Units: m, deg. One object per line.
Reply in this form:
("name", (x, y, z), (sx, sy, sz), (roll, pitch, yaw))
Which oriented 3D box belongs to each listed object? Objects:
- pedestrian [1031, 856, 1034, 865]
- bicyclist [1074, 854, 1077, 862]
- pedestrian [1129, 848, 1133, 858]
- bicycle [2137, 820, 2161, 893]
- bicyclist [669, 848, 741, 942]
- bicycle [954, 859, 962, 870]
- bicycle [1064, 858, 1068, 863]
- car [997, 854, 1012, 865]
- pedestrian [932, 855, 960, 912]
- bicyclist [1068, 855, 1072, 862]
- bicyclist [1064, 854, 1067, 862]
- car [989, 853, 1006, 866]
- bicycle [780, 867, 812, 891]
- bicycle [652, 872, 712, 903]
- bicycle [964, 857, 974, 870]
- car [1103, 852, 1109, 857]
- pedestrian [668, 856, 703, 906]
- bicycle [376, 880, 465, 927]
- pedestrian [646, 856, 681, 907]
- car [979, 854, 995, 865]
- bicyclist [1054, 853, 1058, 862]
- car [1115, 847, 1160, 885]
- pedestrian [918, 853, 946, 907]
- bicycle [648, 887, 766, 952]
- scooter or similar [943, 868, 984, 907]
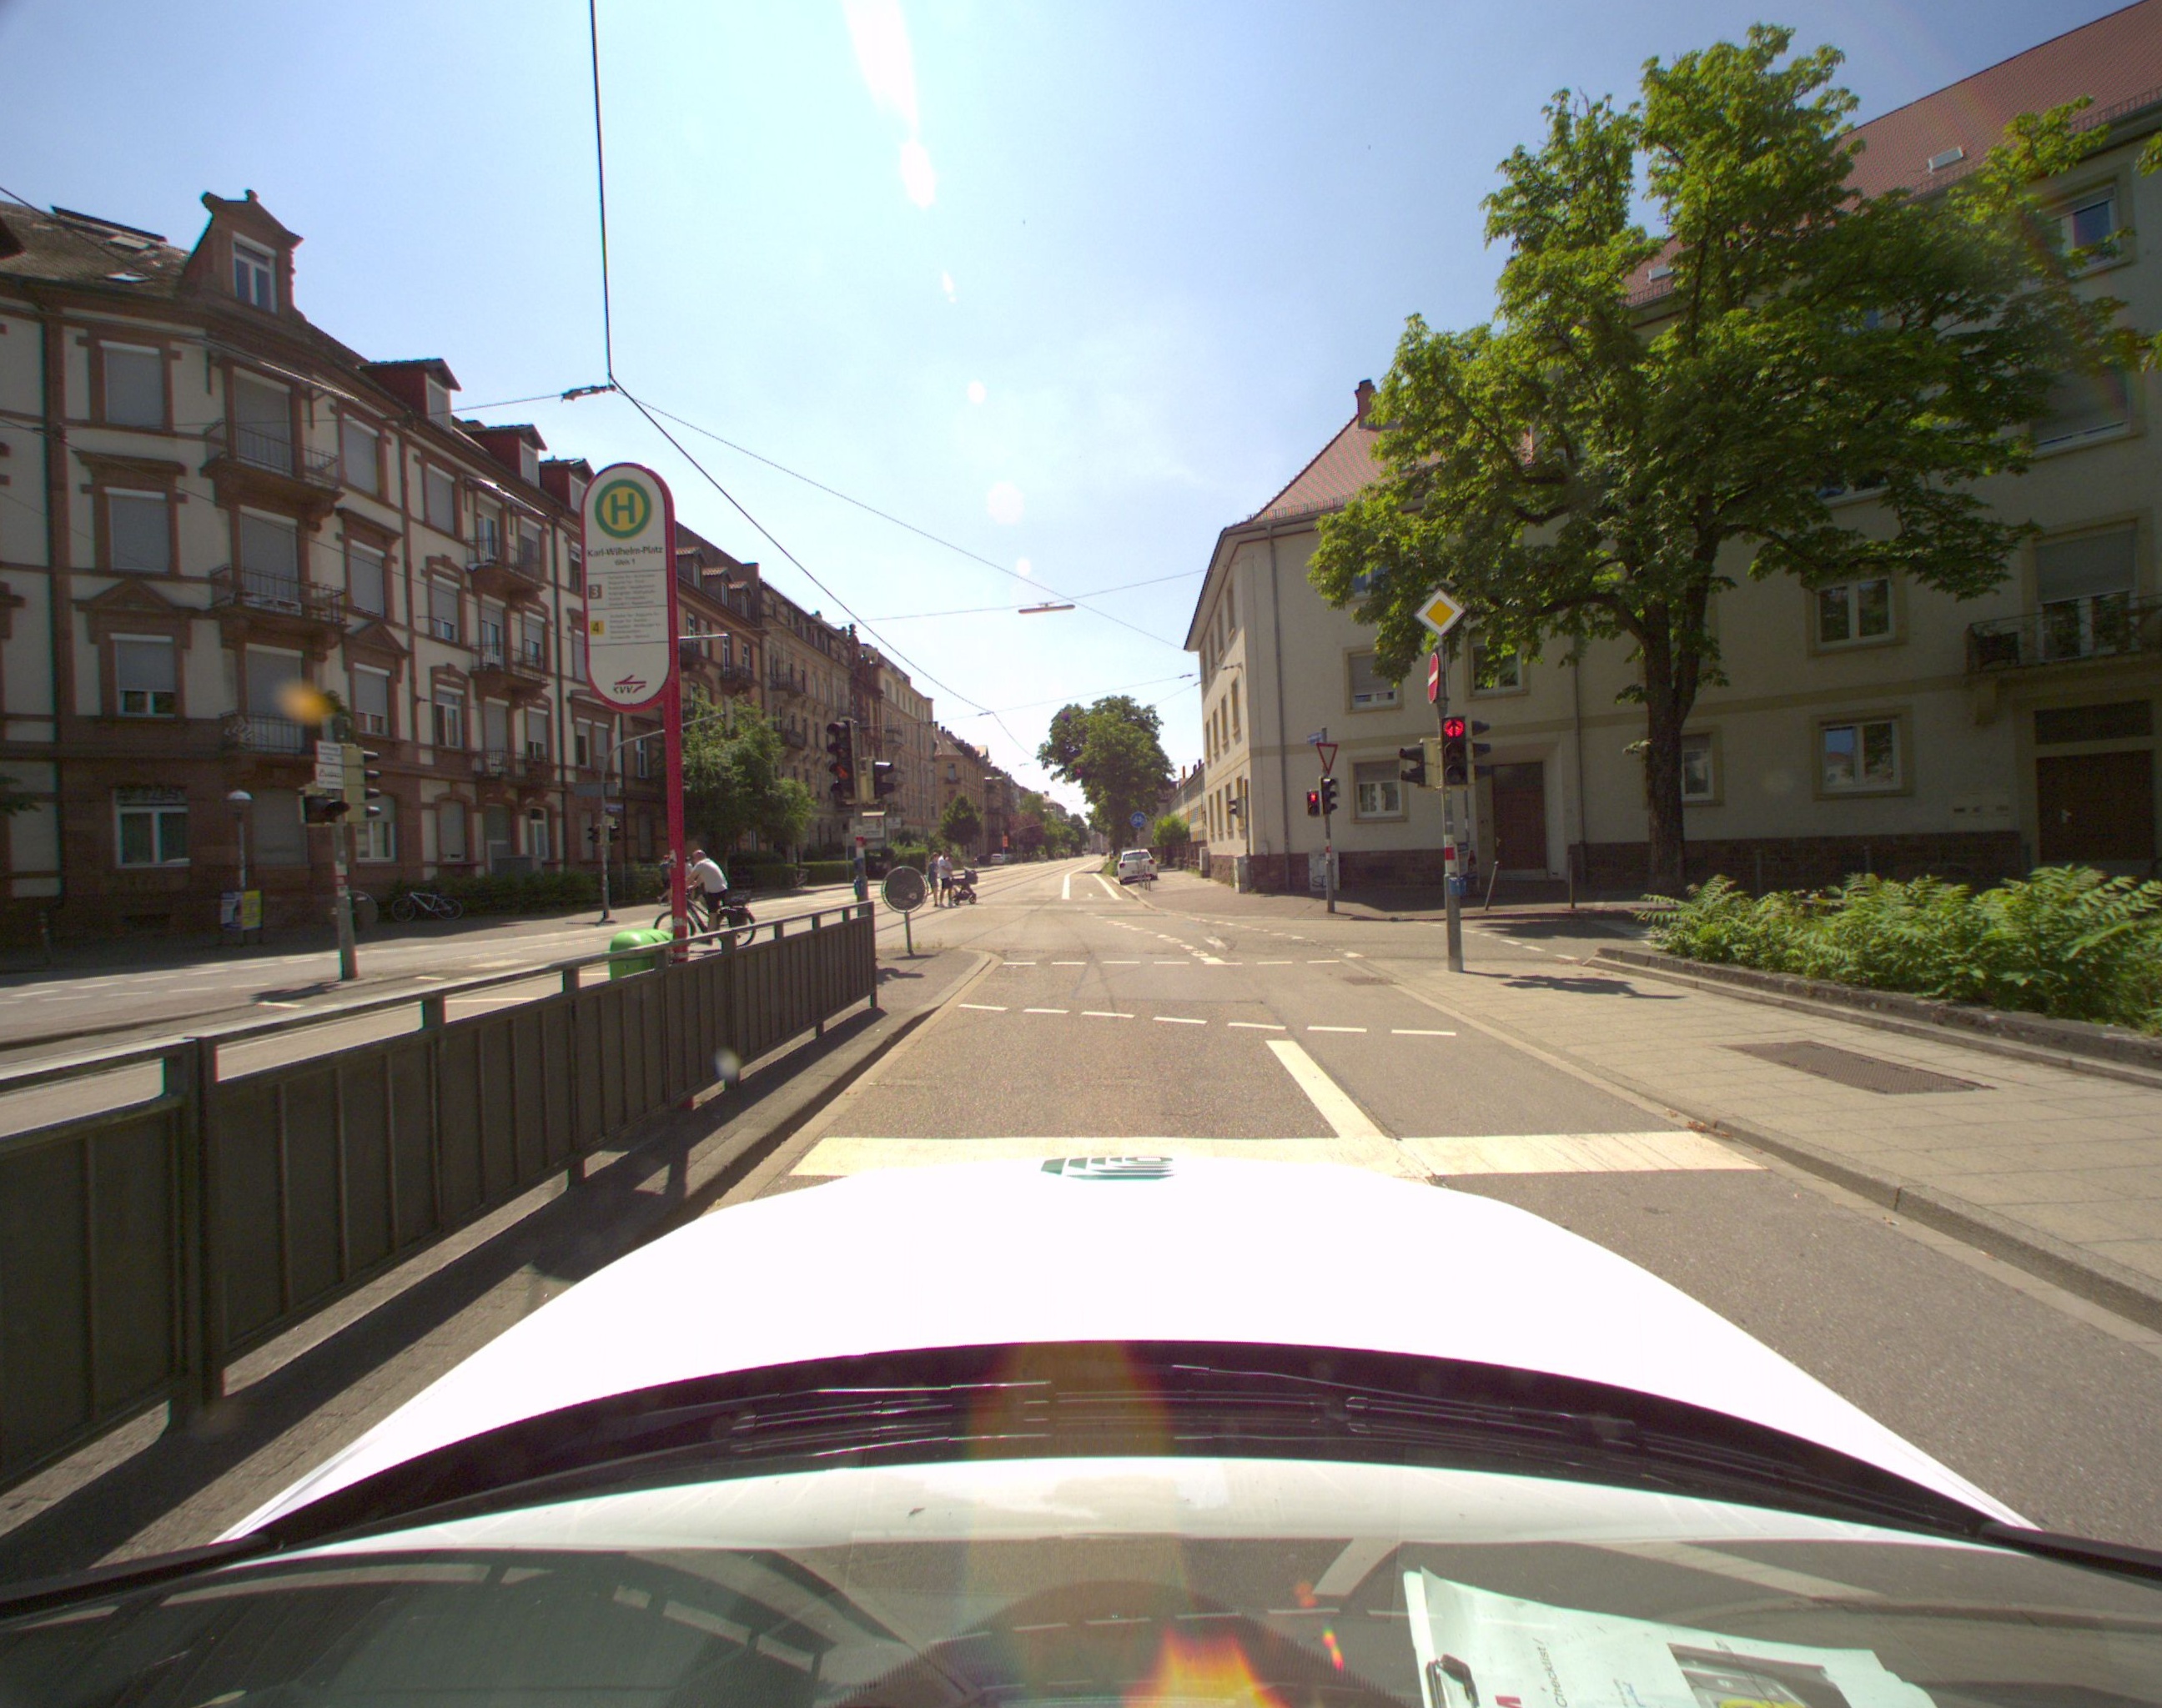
("pedestrian", (-8.298, 1.086, 138.182), (0.404, 1.461, 0.436), (-2, 0, 1))
("bicyclist", (-1.501, 1.018, 208.018), (0.724, 1.818, 1.080), (0, -1, 3))
("pedestrian", (7.863, -0.204, 127.087), (0.519, 1.562, 0.573), (-2, 0, 1))
("bicycle", (17.009, 0.018, 12.076), (0.527, 1.104, 1.589), (-2, 0, -34))
("bicyclist", (-6.544, 0.702, 14.197), (0.841, 1.592, 0.702), (-2, -1, 9))
("bicycle", (-12.155, 1.020, 80.491), (0.677, 1.064, 1.912), (-2, 0, -9))
("bicycle", (-3.596, 1.612, 190.046), (0.724, 1.123, 2.087), (0, -1, 4))
("car", (-11.662, 0.857, 124.321), (1.912, 1.715, 4.001), (0, -1, 2))
("pedestrian", (-3.957, 0.856, 23.917), (0.671, 1.645, 0.560), (-1, -1, 9))
("bicyclist", (-2.784, 1.053, 208.201), (0.724, 1.818, 1.080), (0, -1, 3))
("bicyclist", (-3.579, 0.904, 190.088), (0.724, 1.768, 1.080), (0, -1, 3))
("car", (-11.882, 0.794, 116.057), (1.912, 1.715, 4.001), (0, -1, 2))
("bicycle", (-14.410, 1.253, 41.246), (0.936, 1.136, 2.767), (0, -1, -7))
("bicycle", (-15.671, 1.300, 32.074), (0.934, 1.136, 2.774), (0, -1, 1))
("bicycle", (-11.711, 0.946, 85.128), (0.675, 1.278, 1.918), (-2, 0, -1))
("car", (7.822, 0.179, 253.003), (1.818, 1.519, 4.001), (0, 0, 2))
("pedestrian", (-14.626, 0.985, 30.129), (0.813, 1.822, 0.874), (0, 1, 1))
("bicycle", (-19.556, 1.440, 24.152), (0.557, 1.294, 1.975), (-1, -1, 43))
("pedestrian", (-15.398, 0.997, 30.049), (0.813, 1.822, 0.874), (0, 1, 1))
("car", (-14.334, 0.879, 124.459), (1.912, 1.715, 4.001), (0, -1, 2))
("bicyclist", (-5.020, 0.707, 164.446), (0.724, 1.629, 1.080), (0, -1, 3))
("car", (2.524, 0.526, 37.412), (1.808, 1.516, 4.001), (-4, -1, 2))
("pedestrian", (-4.555, 0.792, 24.936), (0.671, 1.645, 0.560), (-1, -1, 9))
("bicycle", (-6.507, 1.131, 14.201), (1.750, 1.057, 0.702), (-2, -1, 9))
("scooter or similar", (-3.594, 1.029, 24.938), (1.198, 1.155, 0.558), (0, -1, -2))
